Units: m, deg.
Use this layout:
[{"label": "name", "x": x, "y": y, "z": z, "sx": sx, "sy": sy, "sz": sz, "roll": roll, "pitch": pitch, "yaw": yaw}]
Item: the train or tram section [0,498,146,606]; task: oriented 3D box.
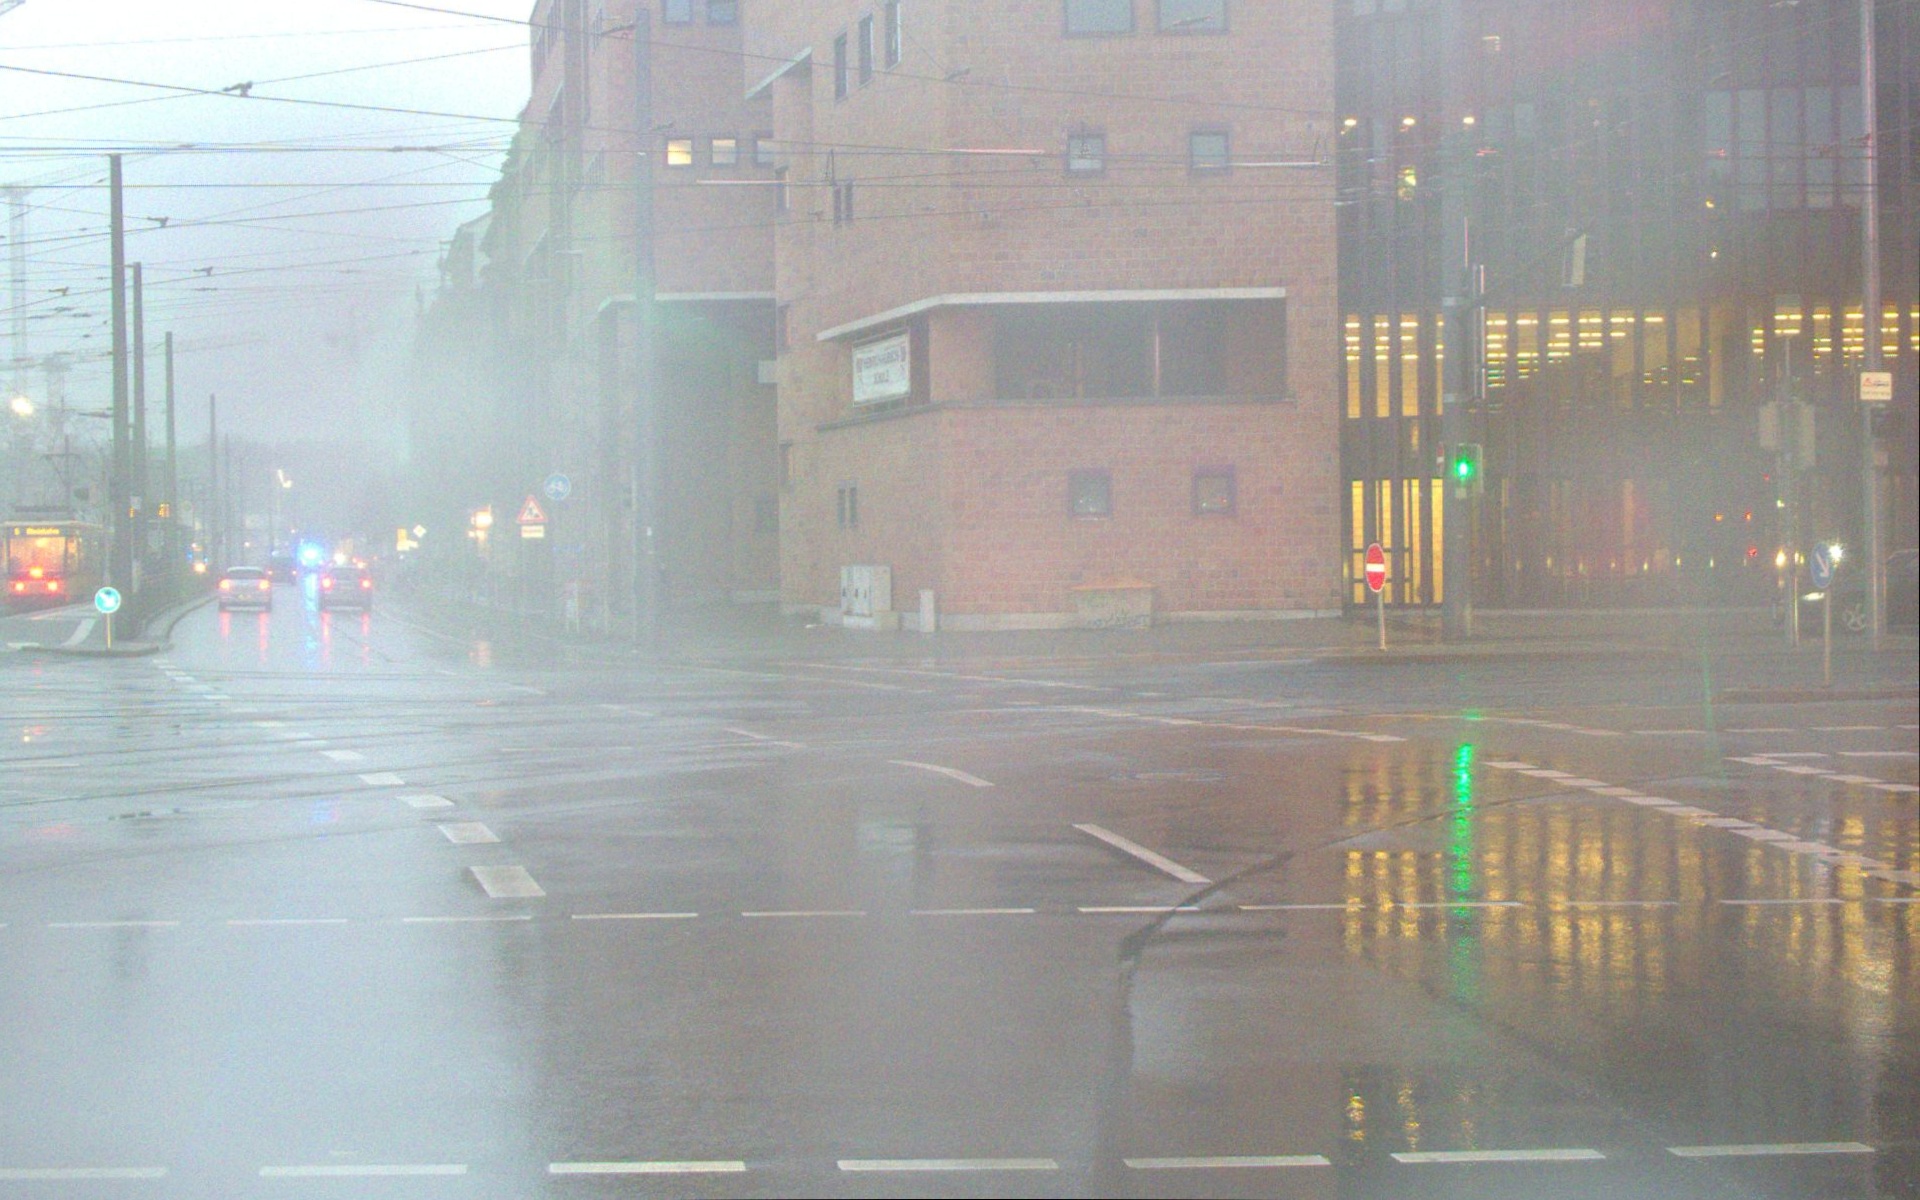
[{"label": "train or tram section", "x": -31.736, "y": -1.722, "z": 123.759, "sx": 3.190, "sy": 3.424, "sz": 27.839, "roll": -1, "pitch": 1, "yaw": -10}]

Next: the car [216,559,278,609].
[{"label": "car", "x": -23.813, "y": -0.551, "z": 114.895, "sx": 1.870, "sy": 1.573, "sz": 4.001, "roll": 1, "pitch": 1, "yaw": -10}]

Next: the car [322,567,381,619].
[{"label": "car", "x": -20.897, "y": -0.262, "z": 118.172, "sx": 1.870, "sy": 1.573, "sz": 4.001, "roll": 1, "pitch": 2, "yaw": -8}]

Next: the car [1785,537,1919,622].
[{"label": "car", "x": 15.701, "y": -0.367, "z": 55.917, "sx": 3.986, "sy": 1.305, "sz": 2.000, "roll": -1, "pitch": 1, "yaw": -4}]
